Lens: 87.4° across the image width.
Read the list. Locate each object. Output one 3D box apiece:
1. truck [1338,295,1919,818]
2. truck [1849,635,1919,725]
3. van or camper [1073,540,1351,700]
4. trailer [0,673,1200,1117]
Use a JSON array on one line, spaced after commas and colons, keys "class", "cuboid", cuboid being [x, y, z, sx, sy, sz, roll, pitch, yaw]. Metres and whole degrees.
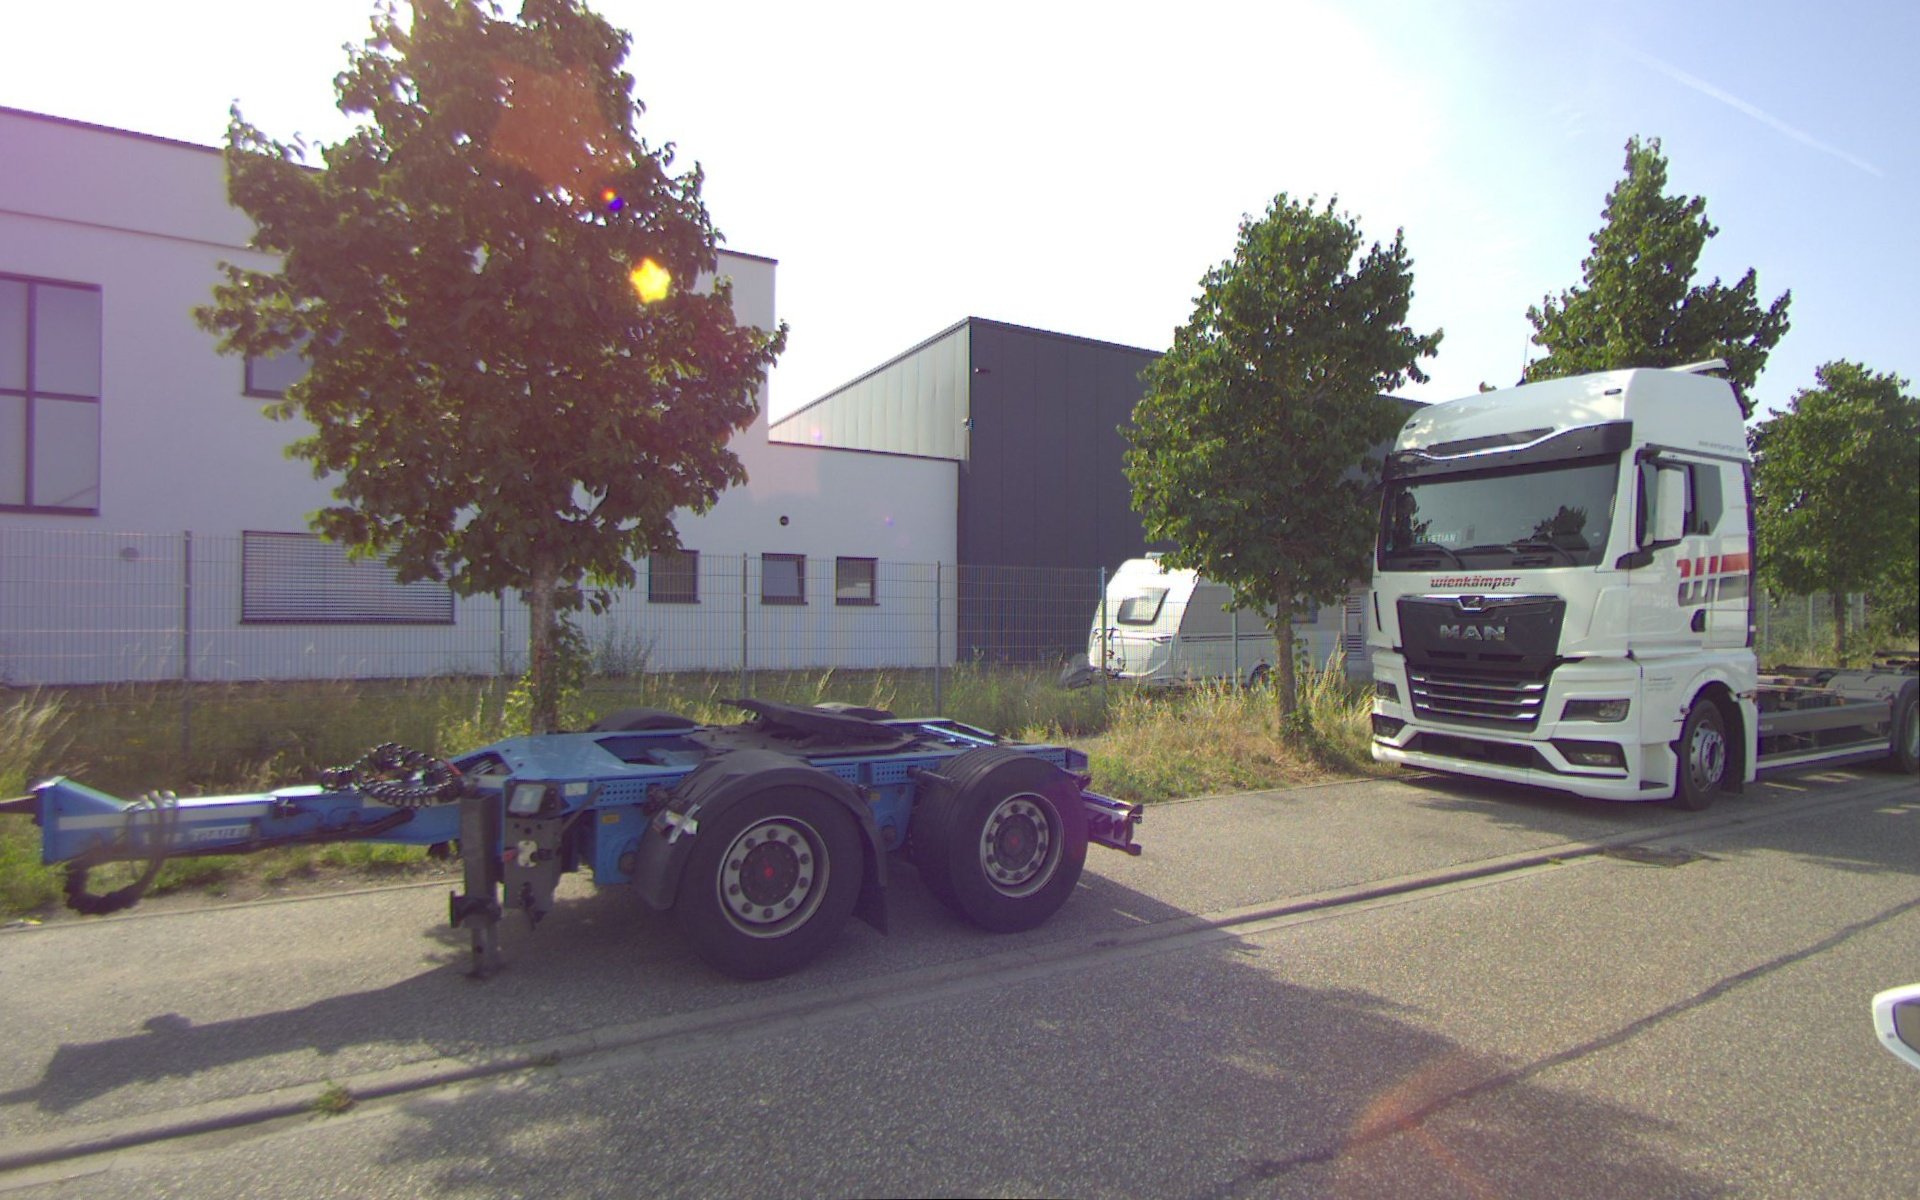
[{"class": "truck", "cuboid": [9.937, -0.223, 11.896, 12.760, 3.981, 2.615, 1, -1, -29]}, {"class": "truck", "cuboid": [17.044, 1.215, 15.993, 6.451, 1.282, 2.512, 1, -1, -31]}, {"class": "van or camper", "cuboid": [4.708, 0.391, 18.571, 4.901, 2.594, 2.292, 1, -2, -33]}, {"class": "trailer", "cuboid": [-1.538, 1.047, 5.269, 5.140, 1.114, 2.562, 1, -2, -30]}]
